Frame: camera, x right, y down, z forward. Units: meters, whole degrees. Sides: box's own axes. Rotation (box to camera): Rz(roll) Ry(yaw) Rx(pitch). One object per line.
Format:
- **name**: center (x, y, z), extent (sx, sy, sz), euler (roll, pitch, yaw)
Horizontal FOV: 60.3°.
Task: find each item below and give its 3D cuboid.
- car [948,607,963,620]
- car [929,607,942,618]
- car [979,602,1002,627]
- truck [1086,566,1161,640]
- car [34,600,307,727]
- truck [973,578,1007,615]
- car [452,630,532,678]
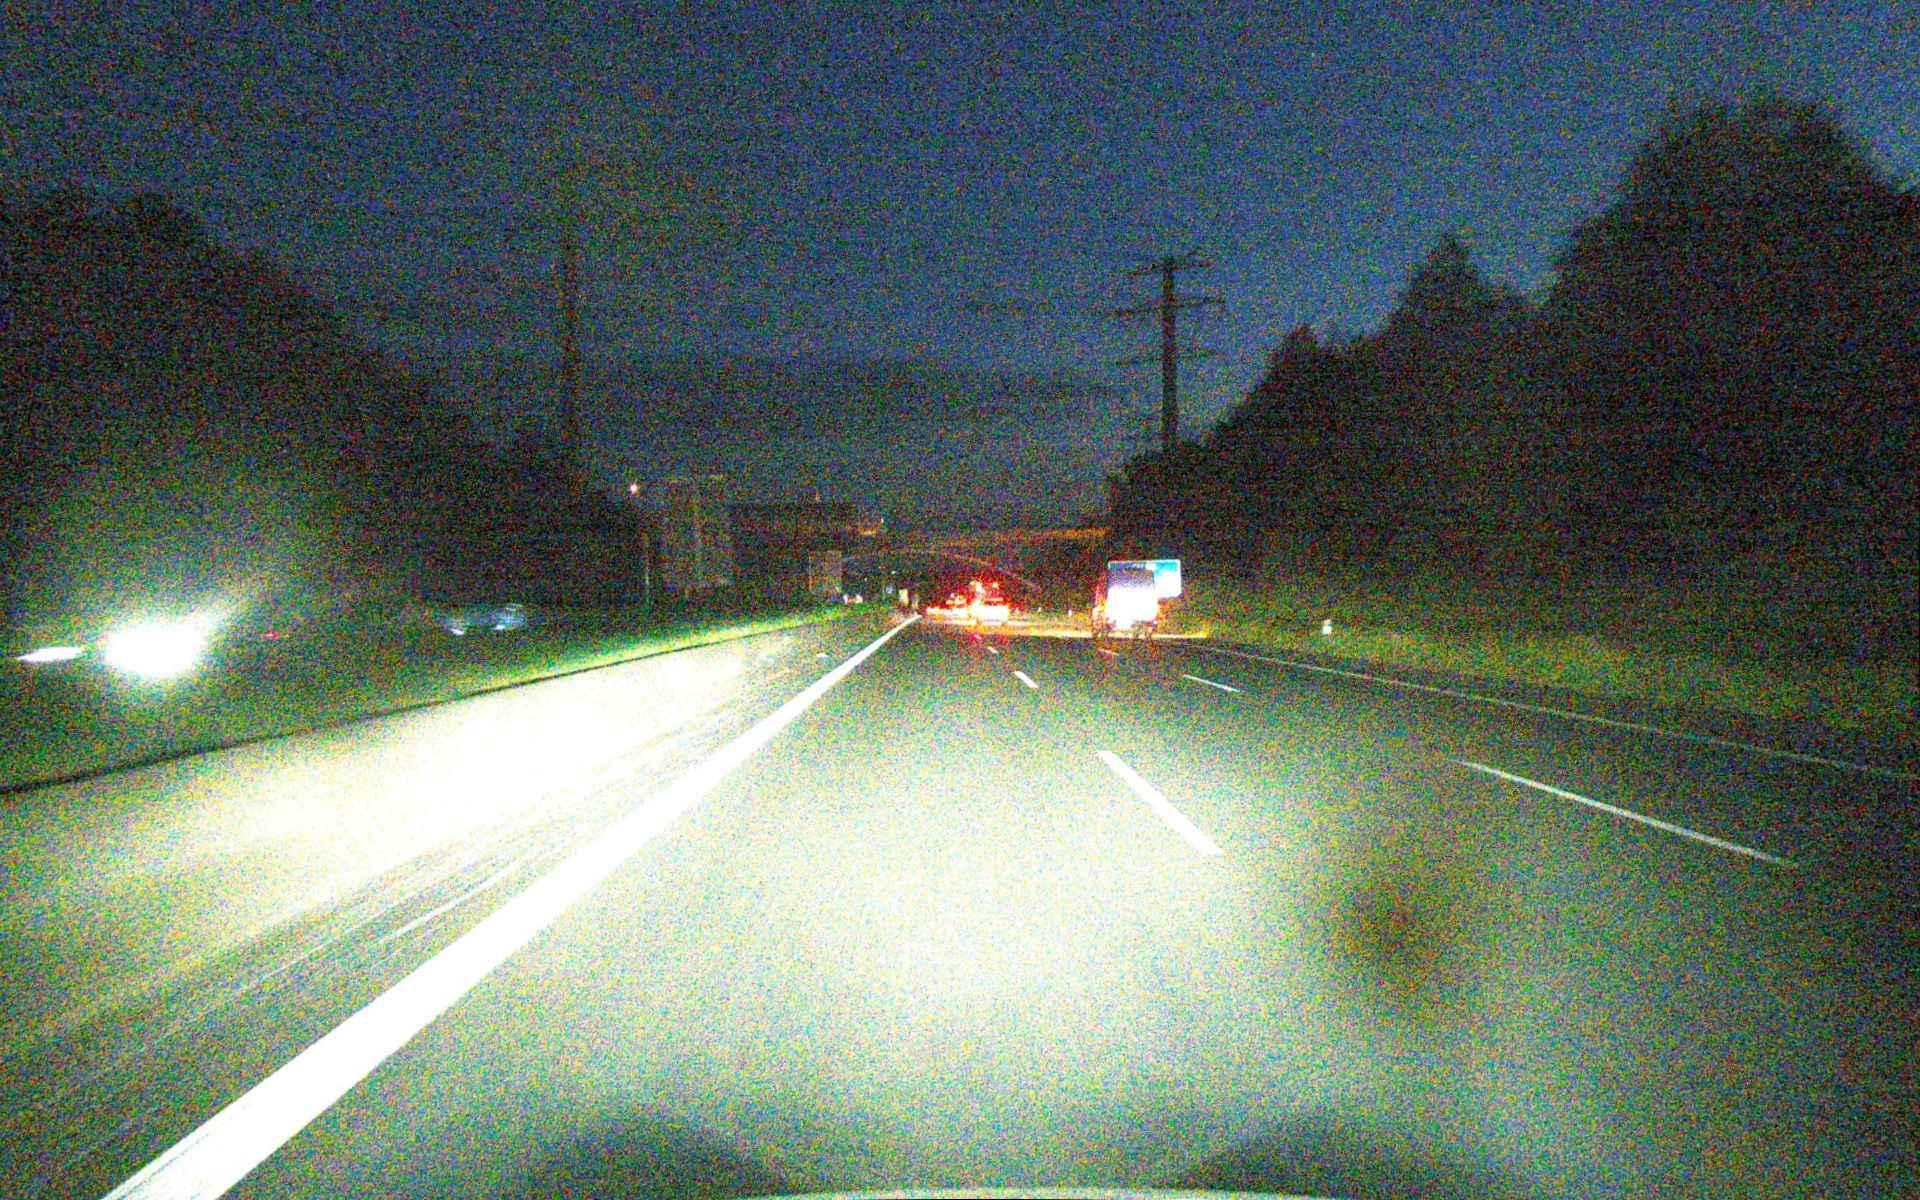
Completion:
- **car**: center (-0.555, 1.712, 208.838), extent (1.783, 1.492, 4.248), euler (1, 1, 0)
- **car**: center (-3.588, 1.778, 239.890), extent (1.783, 1.492, 4.248), euler (1, 1, 0)
- **car**: center (1.868, 0.846, 100.520), extent (1.318, 1.411, 3.501), euler (1, 1, 0)
- **truck**: center (6.461, 0.185, 66.150), extent (2.035, 2.738, 7.304), euler (1, -2, -2)
- **car**: center (-11.908, 0.940, 25.394), extent (1.756, 1.713, 5.168), euler (1, -1, -1)
- **truck**: center (2.876, -0.394, 160.722), extent (2.982, 3.382, 10.142), euler (1, 1, 0)
- **car**: center (-16.349, 1.877, 57.970), extent (1.604, 1.578, 4.469), euler (1, -1, -1)
